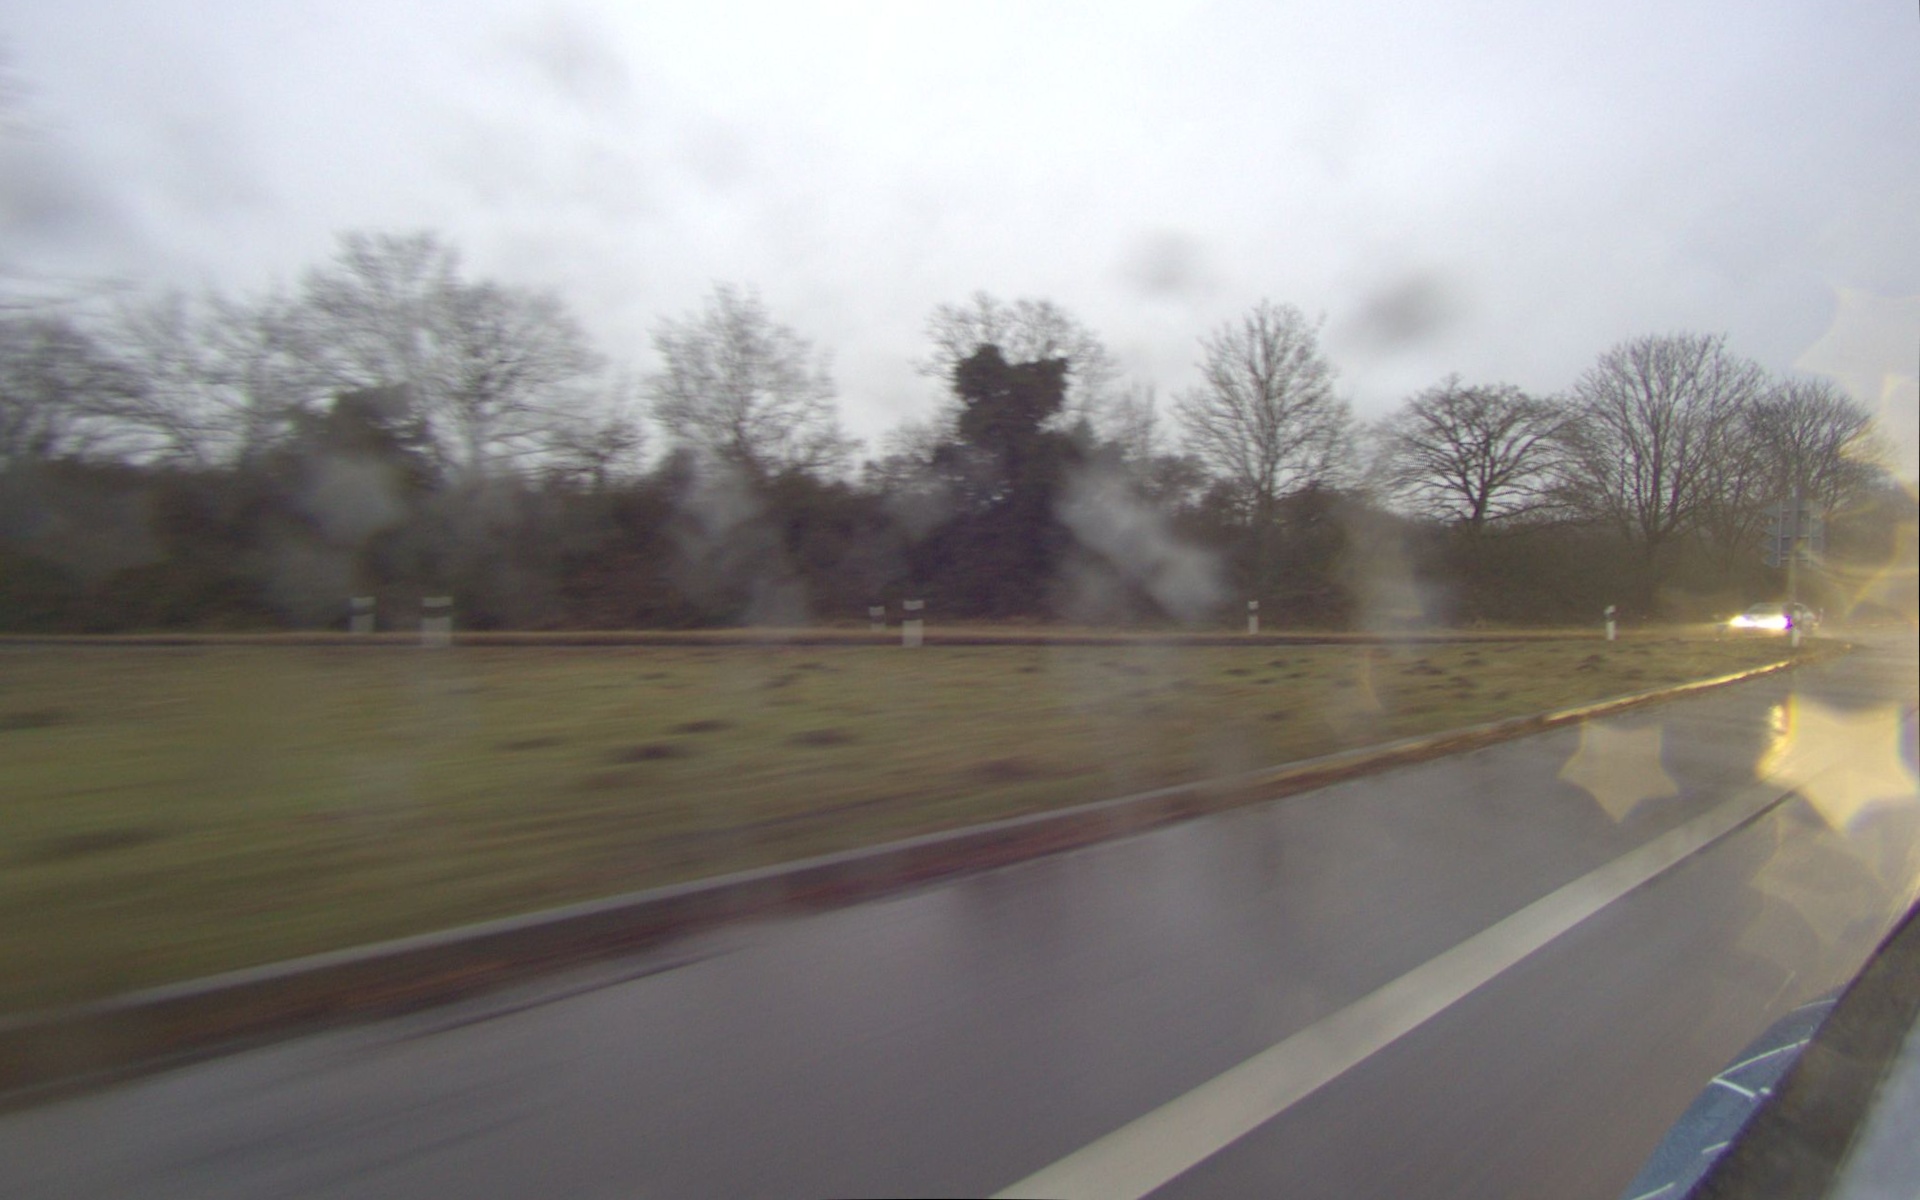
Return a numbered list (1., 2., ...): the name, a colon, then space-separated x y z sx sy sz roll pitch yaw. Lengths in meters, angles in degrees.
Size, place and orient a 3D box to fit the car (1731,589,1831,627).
1. car: 32.906 0.290 40.559 3.713 1.452 1.732 0 2 -27
